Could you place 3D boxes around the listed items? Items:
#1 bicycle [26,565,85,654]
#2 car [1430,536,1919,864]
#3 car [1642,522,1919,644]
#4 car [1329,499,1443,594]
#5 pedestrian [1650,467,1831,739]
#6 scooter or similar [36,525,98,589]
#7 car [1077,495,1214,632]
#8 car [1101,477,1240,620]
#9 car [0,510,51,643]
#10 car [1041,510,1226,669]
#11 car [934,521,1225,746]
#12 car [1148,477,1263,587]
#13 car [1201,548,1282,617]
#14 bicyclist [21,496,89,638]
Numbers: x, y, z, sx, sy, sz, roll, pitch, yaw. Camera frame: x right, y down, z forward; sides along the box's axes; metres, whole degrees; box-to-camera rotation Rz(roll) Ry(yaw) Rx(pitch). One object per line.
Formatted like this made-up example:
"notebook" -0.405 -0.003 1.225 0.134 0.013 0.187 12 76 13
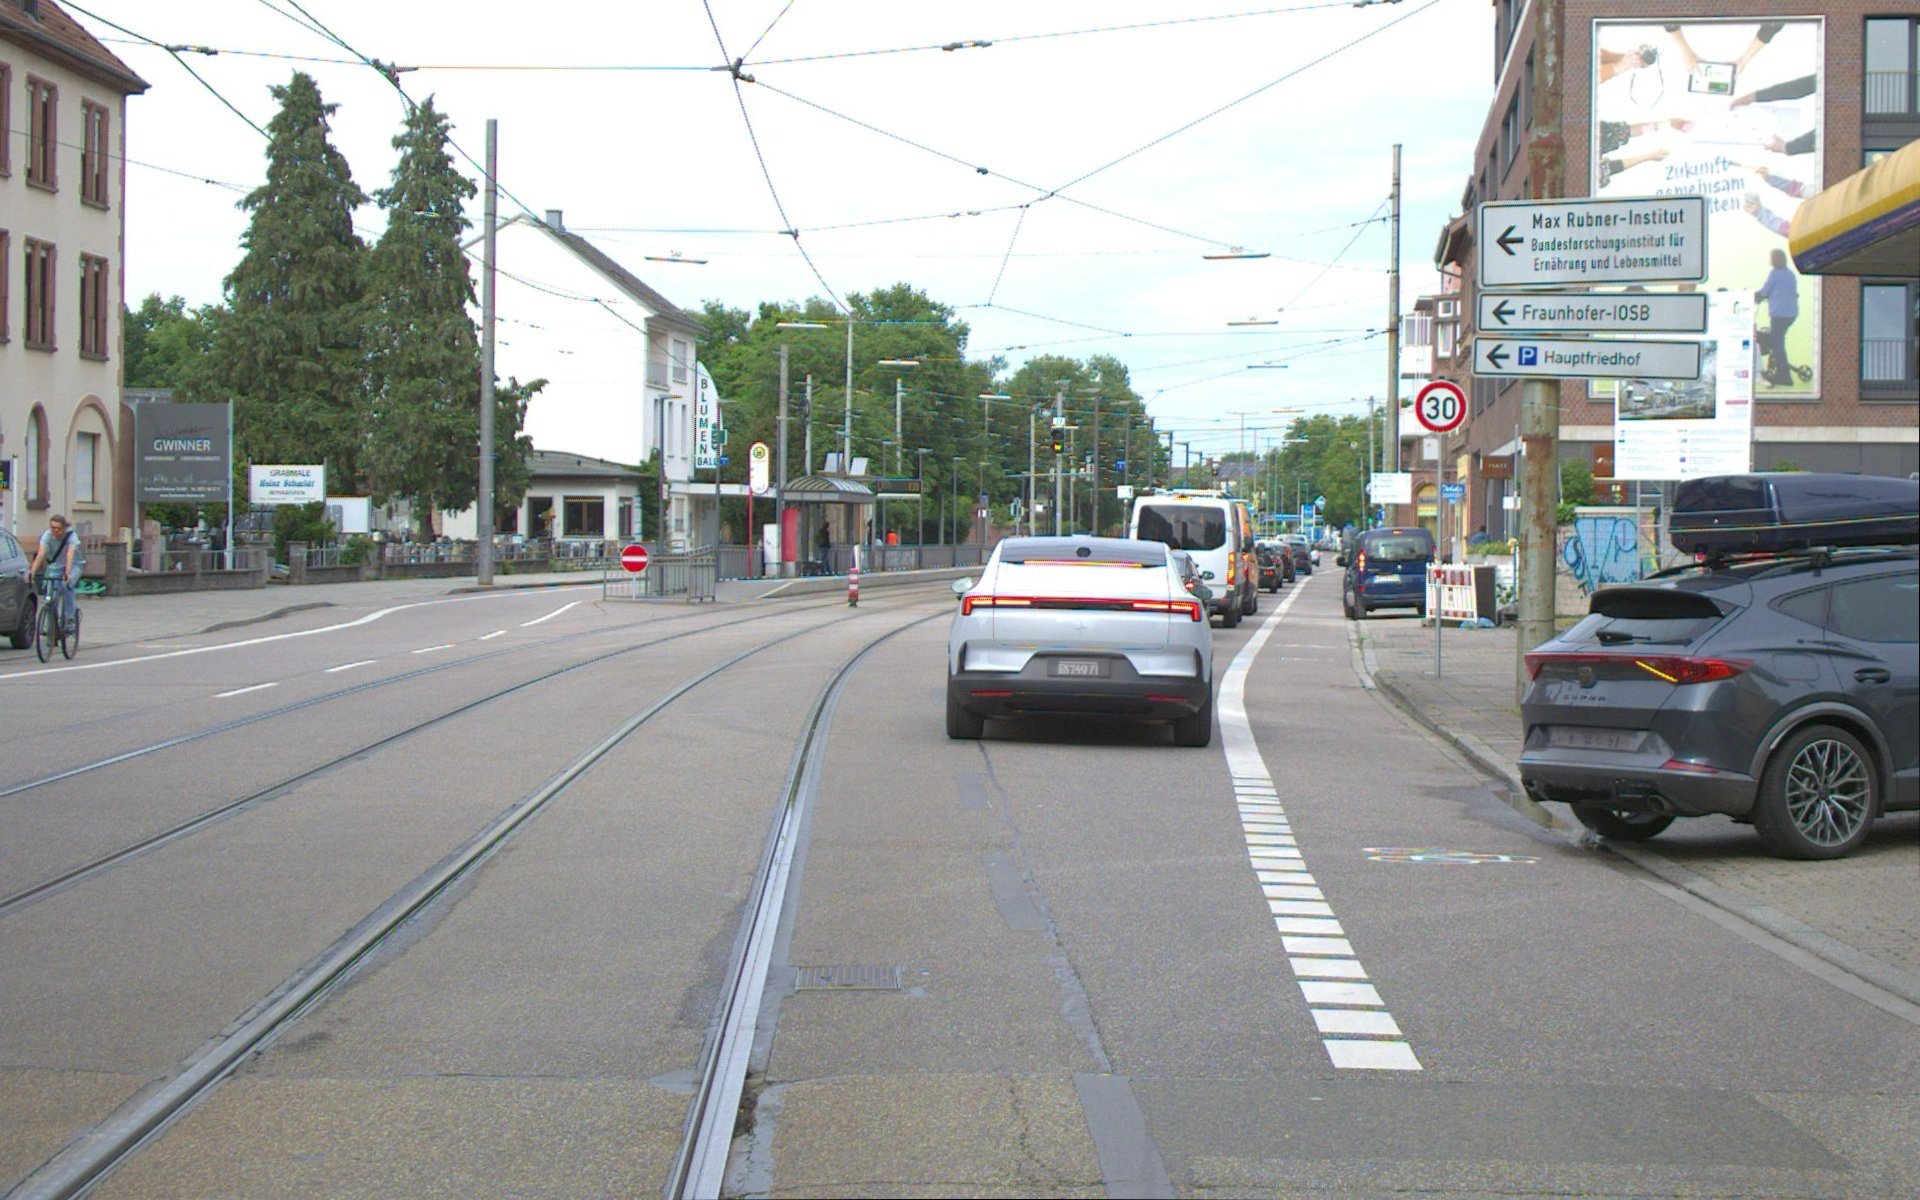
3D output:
"bicycle" -11.258 0.105 42.808 0.586 1.070 1.958 -1 1 -11
"car" 4.868 0.436 18.144 4.311 1.492 1.997 -2 2 -24
"car" 10.997 -0.225 42.049 4.882 1.422 1.948 2 2 41
"car" 8.677 -1.076 70.366 1.874 1.817 4.096 2 1 2
"pedestrian" 5.109 0.016 22.553 0.972 1.732 0.861 -1 0 2
"scooter or similar" -16.999 -0.815 65.453 1.049 1.184 0.318 2 0 -33
"car" 2.881 -0.569 54.025 1.994 2.007 4.000 2 1 2
"car" 3.762 -0.926 62.338 2.216 2.415 4.951 2 1 1
"car" -13.298 -0.336 44.565 1.844 1.712 4.193 2 1 1
"car" 2.021 -0.137 41.128 1.969 1.750 3.838 2 1 0
"car" 0.843 0.202 26.753 1.981 1.544 4.184 2 1 -1
"car" 5.073 -1.392 71.644 2.139 2.138 4.743 2 1 2
"car" 8.646 -0.542 105.793 1.993 2.007 4.000 2 1 -1
"bicyclist" -11.261 -0.414 42.795 0.735 1.743 0.979 -1 1 -11
